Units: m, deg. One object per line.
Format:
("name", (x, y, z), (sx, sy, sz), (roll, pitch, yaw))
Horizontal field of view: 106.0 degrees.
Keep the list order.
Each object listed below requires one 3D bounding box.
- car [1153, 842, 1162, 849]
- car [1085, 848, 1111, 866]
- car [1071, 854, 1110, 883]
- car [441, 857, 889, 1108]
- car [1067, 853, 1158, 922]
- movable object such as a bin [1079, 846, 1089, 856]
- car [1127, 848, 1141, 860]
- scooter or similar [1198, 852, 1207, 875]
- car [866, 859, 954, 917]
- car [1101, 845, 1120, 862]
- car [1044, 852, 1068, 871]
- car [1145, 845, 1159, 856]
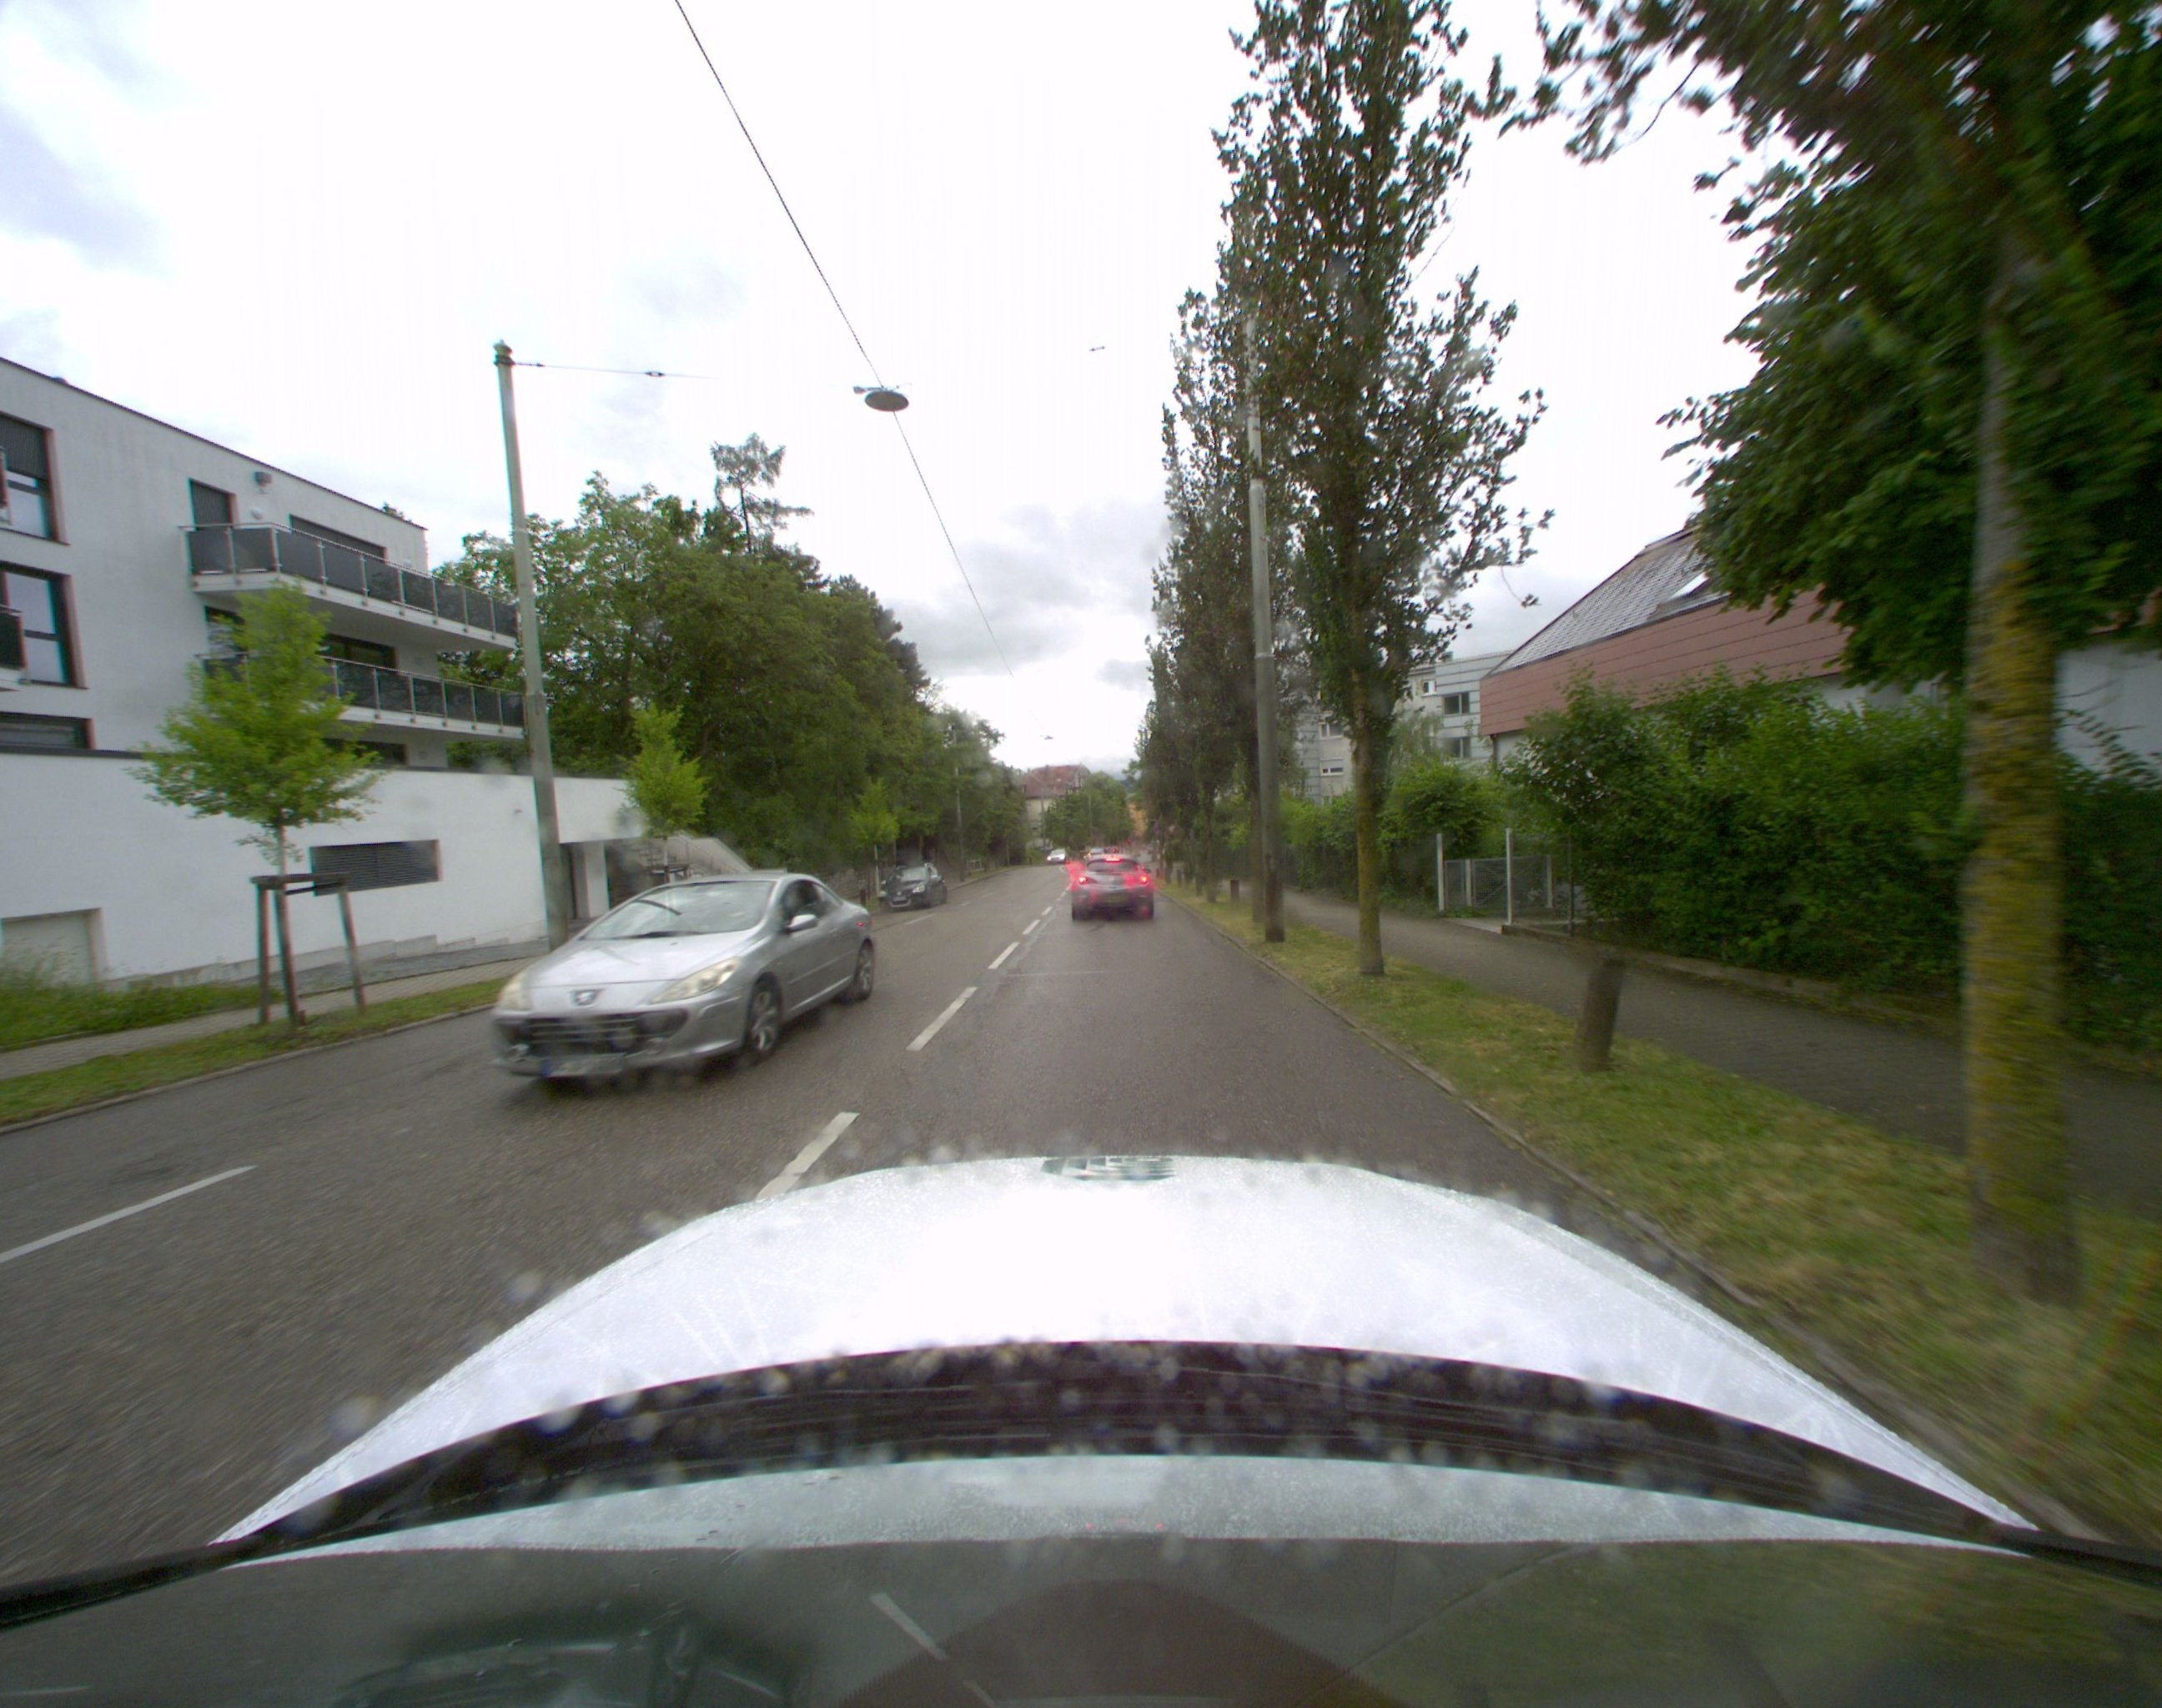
("car", (19.572, -2.187, 209.187), (1.981, 1.784, 4.012), (0, 2, 10))
("car", (1.526, 0.237, 71.653), (1.950, 1.472, 3.959), (0, 2, 7))
("car", (0.536, 0.693, 41.897), (1.790, 1.323, 4.004), (-2, 1, 4))
("car", (-3.192, 0.844, 7.311), (1.755, 1.486, 4.002), (-4, 0, 2))
("car", (0.730, 0.721, 19.331), (1.938, 1.432, 3.886), (0, 0, 2))
("movable object such as a bin", (0.392, -0.411, 111.662), (1.265, 1.387, 0.490), (-2, 1, 6))
("car", (7.897, -0.041, 120.967), (1.745, 1.651, 4.008), (0, 1, 7))
("scooter or similar", (6.964, 0.537, 46.564), (0.341, 1.254, 1.267), (0, 0, 0))
("car", (-5.611, 1.066, 27.201), (1.738, 1.549, 3.922), (-6, 0, 4))
("car", (3.220, -0.070, 87.950), (1.759, 1.781, 3.985), (0, 2, 7))
("car", (-2.255, 0.646, 75.301), (1.757, 1.485, 3.805), (-5, 1, 4))
("car", (13.543, -0.708, 154.955), (2.320, 2.036, 4.748), (0, 2, 9))
